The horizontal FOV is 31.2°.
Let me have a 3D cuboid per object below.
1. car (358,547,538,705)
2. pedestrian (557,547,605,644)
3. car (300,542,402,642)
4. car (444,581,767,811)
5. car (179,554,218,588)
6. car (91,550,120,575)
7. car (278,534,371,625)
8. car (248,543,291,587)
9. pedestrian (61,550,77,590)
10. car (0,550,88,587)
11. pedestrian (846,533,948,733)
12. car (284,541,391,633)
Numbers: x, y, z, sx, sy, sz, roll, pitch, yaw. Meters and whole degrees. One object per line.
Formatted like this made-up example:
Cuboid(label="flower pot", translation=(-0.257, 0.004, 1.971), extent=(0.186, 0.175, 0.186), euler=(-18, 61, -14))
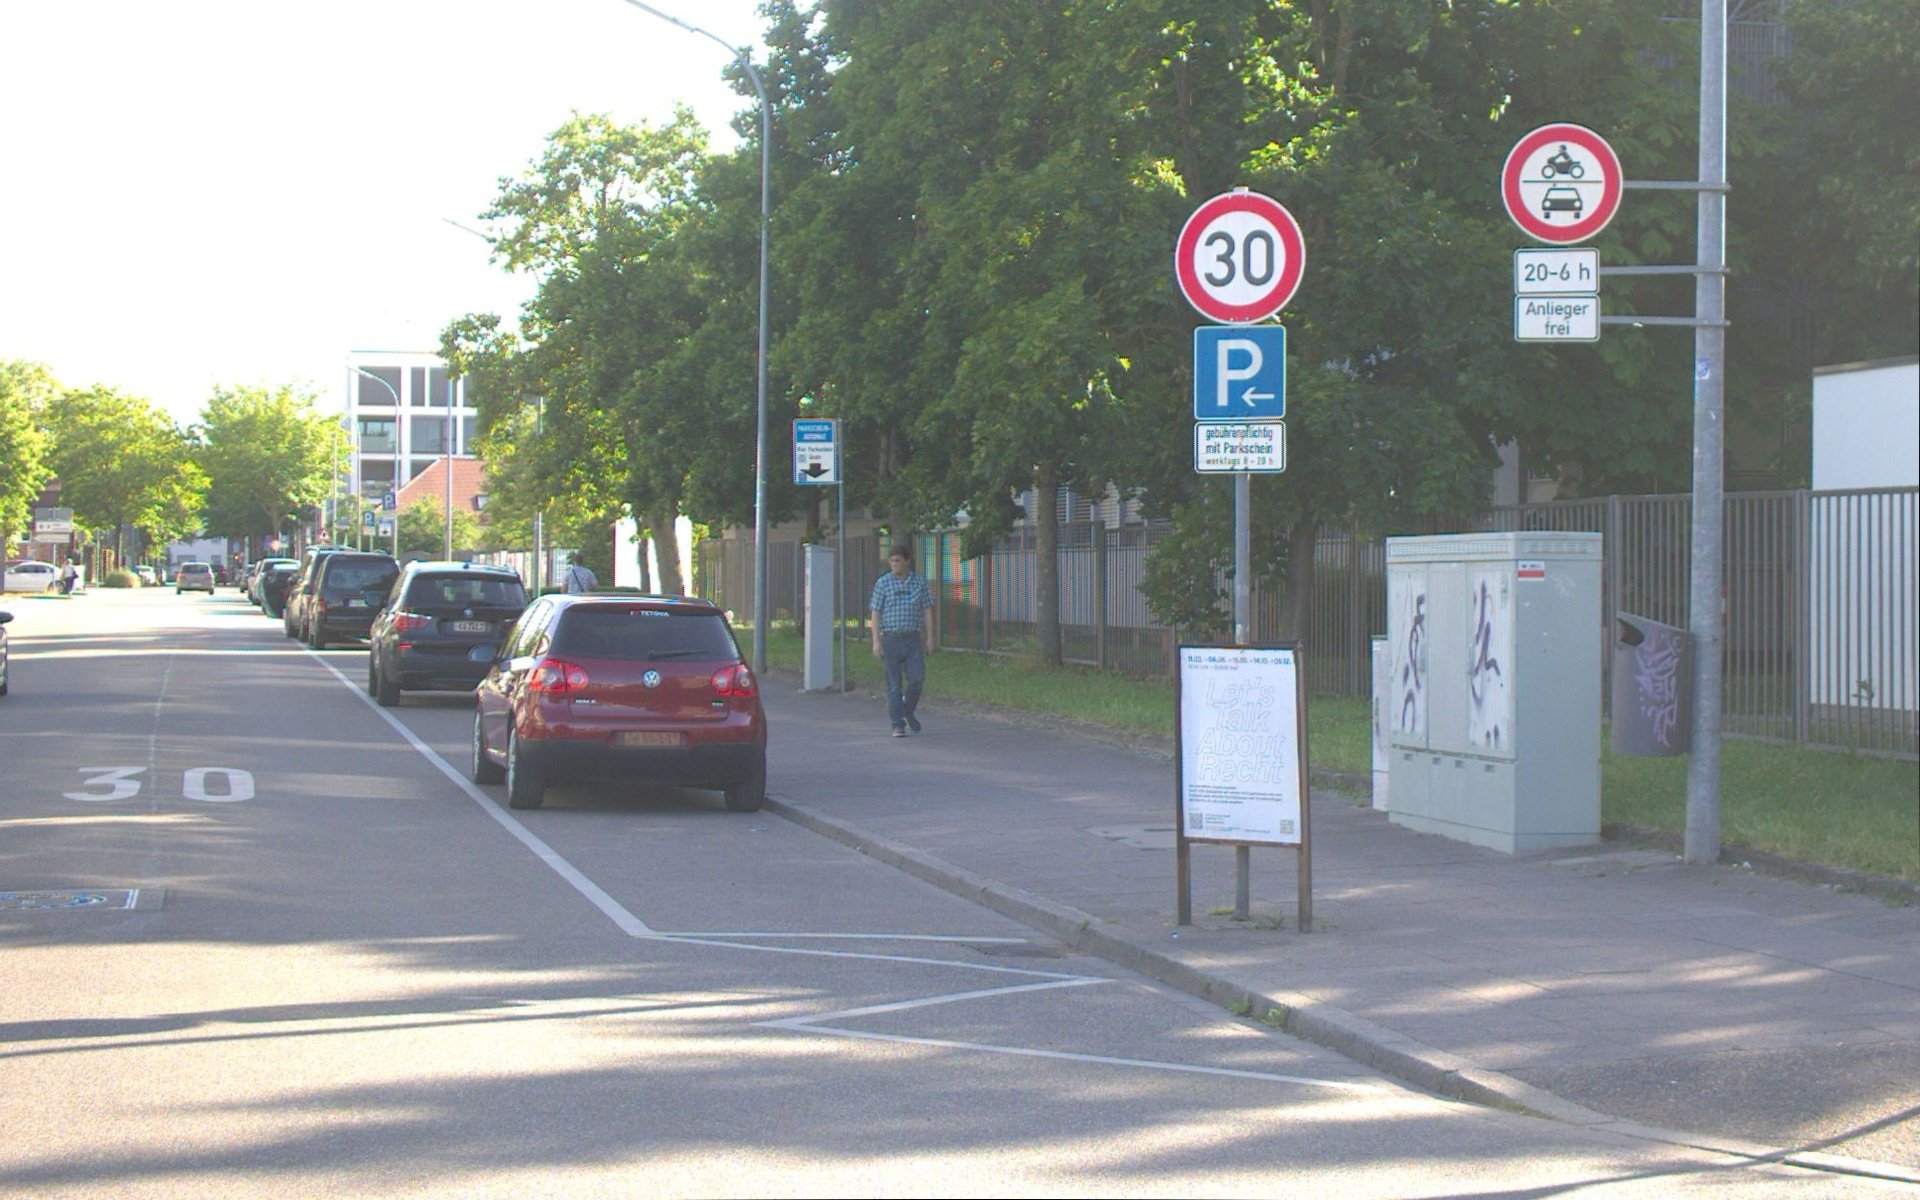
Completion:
Cuboid(label="car", translation=(-6.102, 0.262, 40.622), extent=(1.811, 1.660, 4.594), euler=(2, 1, -11))
Cuboid(label="pedestrian", translation=(-6.579, -0.084, 59.689), extent=(0.698, 1.655, 0.752), euler=(-2, 1, -13))
Cuboid(label="car", translation=(-11.536, -0.177, 64.990), extent=(1.732, 1.824, 3.906), euler=(0, 1, -12))
Cuboid(label="car", translation=(-2.672, 0.626, 24.951), extent=(1.719, 1.450, 4.653), euler=(2, 0, -13))
Cuboid(label="car", translation=(-35.339, -1.364, 159.538), extent=(1.743, 1.538, 4.001), euler=(1, 0, -13))
Cuboid(label="car", translation=(-53.101, -2.323, 213.533), extent=(1.726, 1.531, 4.001), euler=(0, 1, -14))
Cuboid(label="car", translation=(-14.294, -0.472, 77.172), extent=(1.874, 1.971, 4.001), euler=(-1, 1, -13))
Cuboid(label="car", translation=(-25.035, -1.287, 124.617), extent=(1.435, 1.555, 3.043), euler=(0, 1, -13))
Cuboid(label="pedestrian", translation=(-36.387, -1.244, 140.427), extent=(0.618, 1.618, 0.716), euler=(-1, 1, -13))
Cuboid(label="car", translation=(-39.763, -1.363, 148.471), extent=(3.986, 1.514, 2.000), euler=(1, -1, -12))
Cuboid(label="pedestrian", translation=(-0.574, 0.283, 30.907), extent=(0.717, 1.752, 0.885), euler=(-2, 1, -12))
Cuboid(label="car", translation=(-12.894, -0.294, 71.083), extent=(1.993, 1.816, 4.200), euler=(-1, 1, -13))
